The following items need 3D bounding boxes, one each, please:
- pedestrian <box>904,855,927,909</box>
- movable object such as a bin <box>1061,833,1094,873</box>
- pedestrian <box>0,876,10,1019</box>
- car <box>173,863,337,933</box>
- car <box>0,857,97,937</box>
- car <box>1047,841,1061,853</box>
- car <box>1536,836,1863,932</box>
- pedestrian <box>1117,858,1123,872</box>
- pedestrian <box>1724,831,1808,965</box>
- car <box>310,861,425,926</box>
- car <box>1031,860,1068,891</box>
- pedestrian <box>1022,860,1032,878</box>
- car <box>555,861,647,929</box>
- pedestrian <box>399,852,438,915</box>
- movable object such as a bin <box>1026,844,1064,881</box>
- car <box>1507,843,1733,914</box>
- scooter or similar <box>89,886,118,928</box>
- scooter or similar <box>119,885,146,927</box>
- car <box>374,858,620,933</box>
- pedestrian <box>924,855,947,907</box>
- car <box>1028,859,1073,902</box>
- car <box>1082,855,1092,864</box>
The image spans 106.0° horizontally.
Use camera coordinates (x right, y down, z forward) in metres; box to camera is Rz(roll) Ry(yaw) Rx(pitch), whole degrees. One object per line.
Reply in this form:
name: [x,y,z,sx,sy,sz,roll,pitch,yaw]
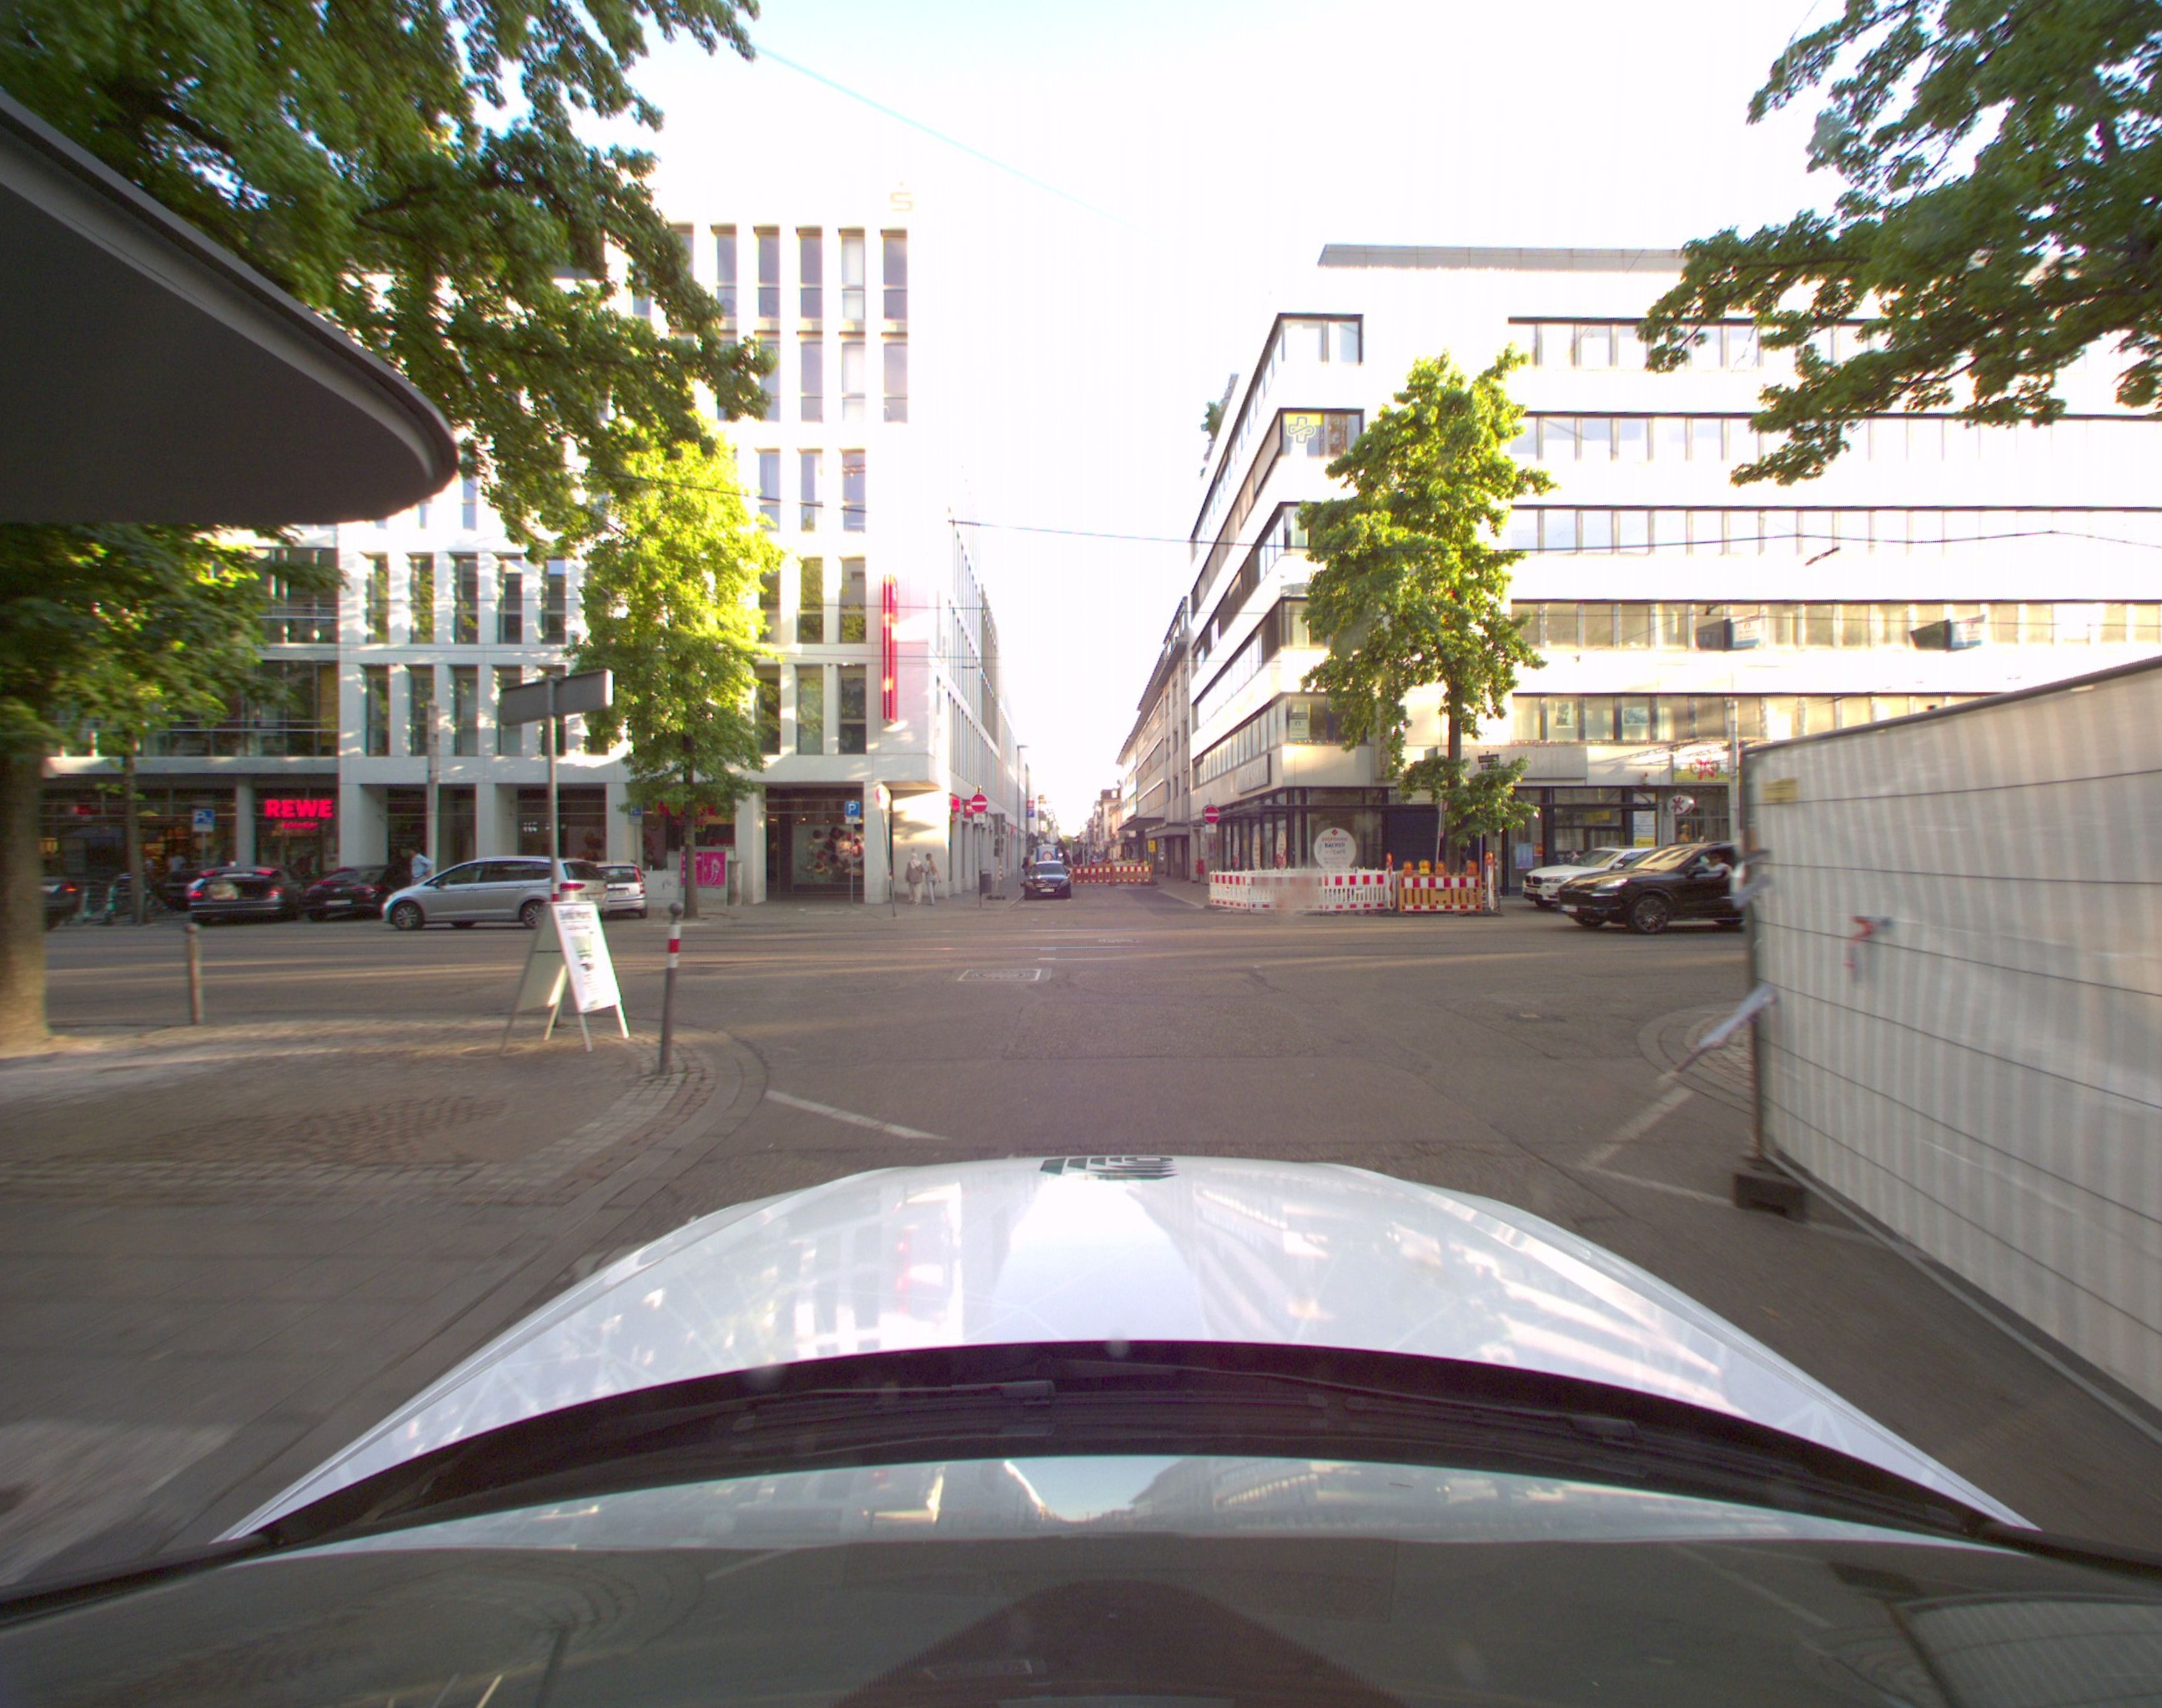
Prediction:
pedestrian: [-5.193,0.863,25.514,0.610,1.627,0.869,-2,0,-14]
movable object such as a bin: [-0.259,-0.045,57.335,2.150,2.663,4.570,-1,0,-1]
pedestrian: [-10.644,0.891,7.436,0.710,1.358,0.730,1,0,-5]
car: [-22.142,1.092,22.058,1.956,1.505,3.962,-1,2,-28]
car: [-25.740,0.984,18.470,4.262,1.738,1.866,-1,-2,-4]
car: [-4.238,-1.047,126.827,1.988,1.776,3.999,-2,0,-1]
car: [11.897,0.547,15.917,4.916,1.726,2.021,0,-1,-2]
pedestrian: [4.002,1.166,84.067,0.521,1.464,0.720,-1,0,7]
pedestrian: [9.607,0.580,11.458,0.795,1.776,1.079,-2,0,37]
car: [-20.011,1.043,22.995,1.594,1.505,3.560,-1,2,-28]
car: [-1.652,1.093,42.186,1.786,1.451,3.138,-1,0,-4]
pedestrian: [-4.391,1.218,66.314,0.713,1.464,0.526,-2,0,1]
car: [-13.122,1.038,22.497,1.956,1.505,3.962,-1,2,-28]
pedestrian: [-17.709,0.774,21.780,0.642,1.627,0.638,0,0,-22]
movable object such as a bin: [-2.069,0.457,47.363,1.987,2.013,3.999,-2,0,0]
car: [14.708,0.627,22.426,4.916,1.775,2.021,0,2,-2]
scooter or similar: [-26.397,1.409,21.998,1.783,1.070,0.392,-1,-1,43]
scooter or similar: [-25.924,1.393,22.266,1.783,1.070,0.392,-1,-1,43]
car: [-13.240,0.933,18.674,4.257,1.593,1.827,-1,-2,-1]
pedestrian: [-4.622,0.844,25.868,0.610,1.627,0.869,-2,0,-14]
car: [-1.254,1.006,32.135,1.626,1.550,3.138,-1,0,-4]
car: [1.322,1.104,171.501,1.988,1.776,3.999,-2,0,-1]
